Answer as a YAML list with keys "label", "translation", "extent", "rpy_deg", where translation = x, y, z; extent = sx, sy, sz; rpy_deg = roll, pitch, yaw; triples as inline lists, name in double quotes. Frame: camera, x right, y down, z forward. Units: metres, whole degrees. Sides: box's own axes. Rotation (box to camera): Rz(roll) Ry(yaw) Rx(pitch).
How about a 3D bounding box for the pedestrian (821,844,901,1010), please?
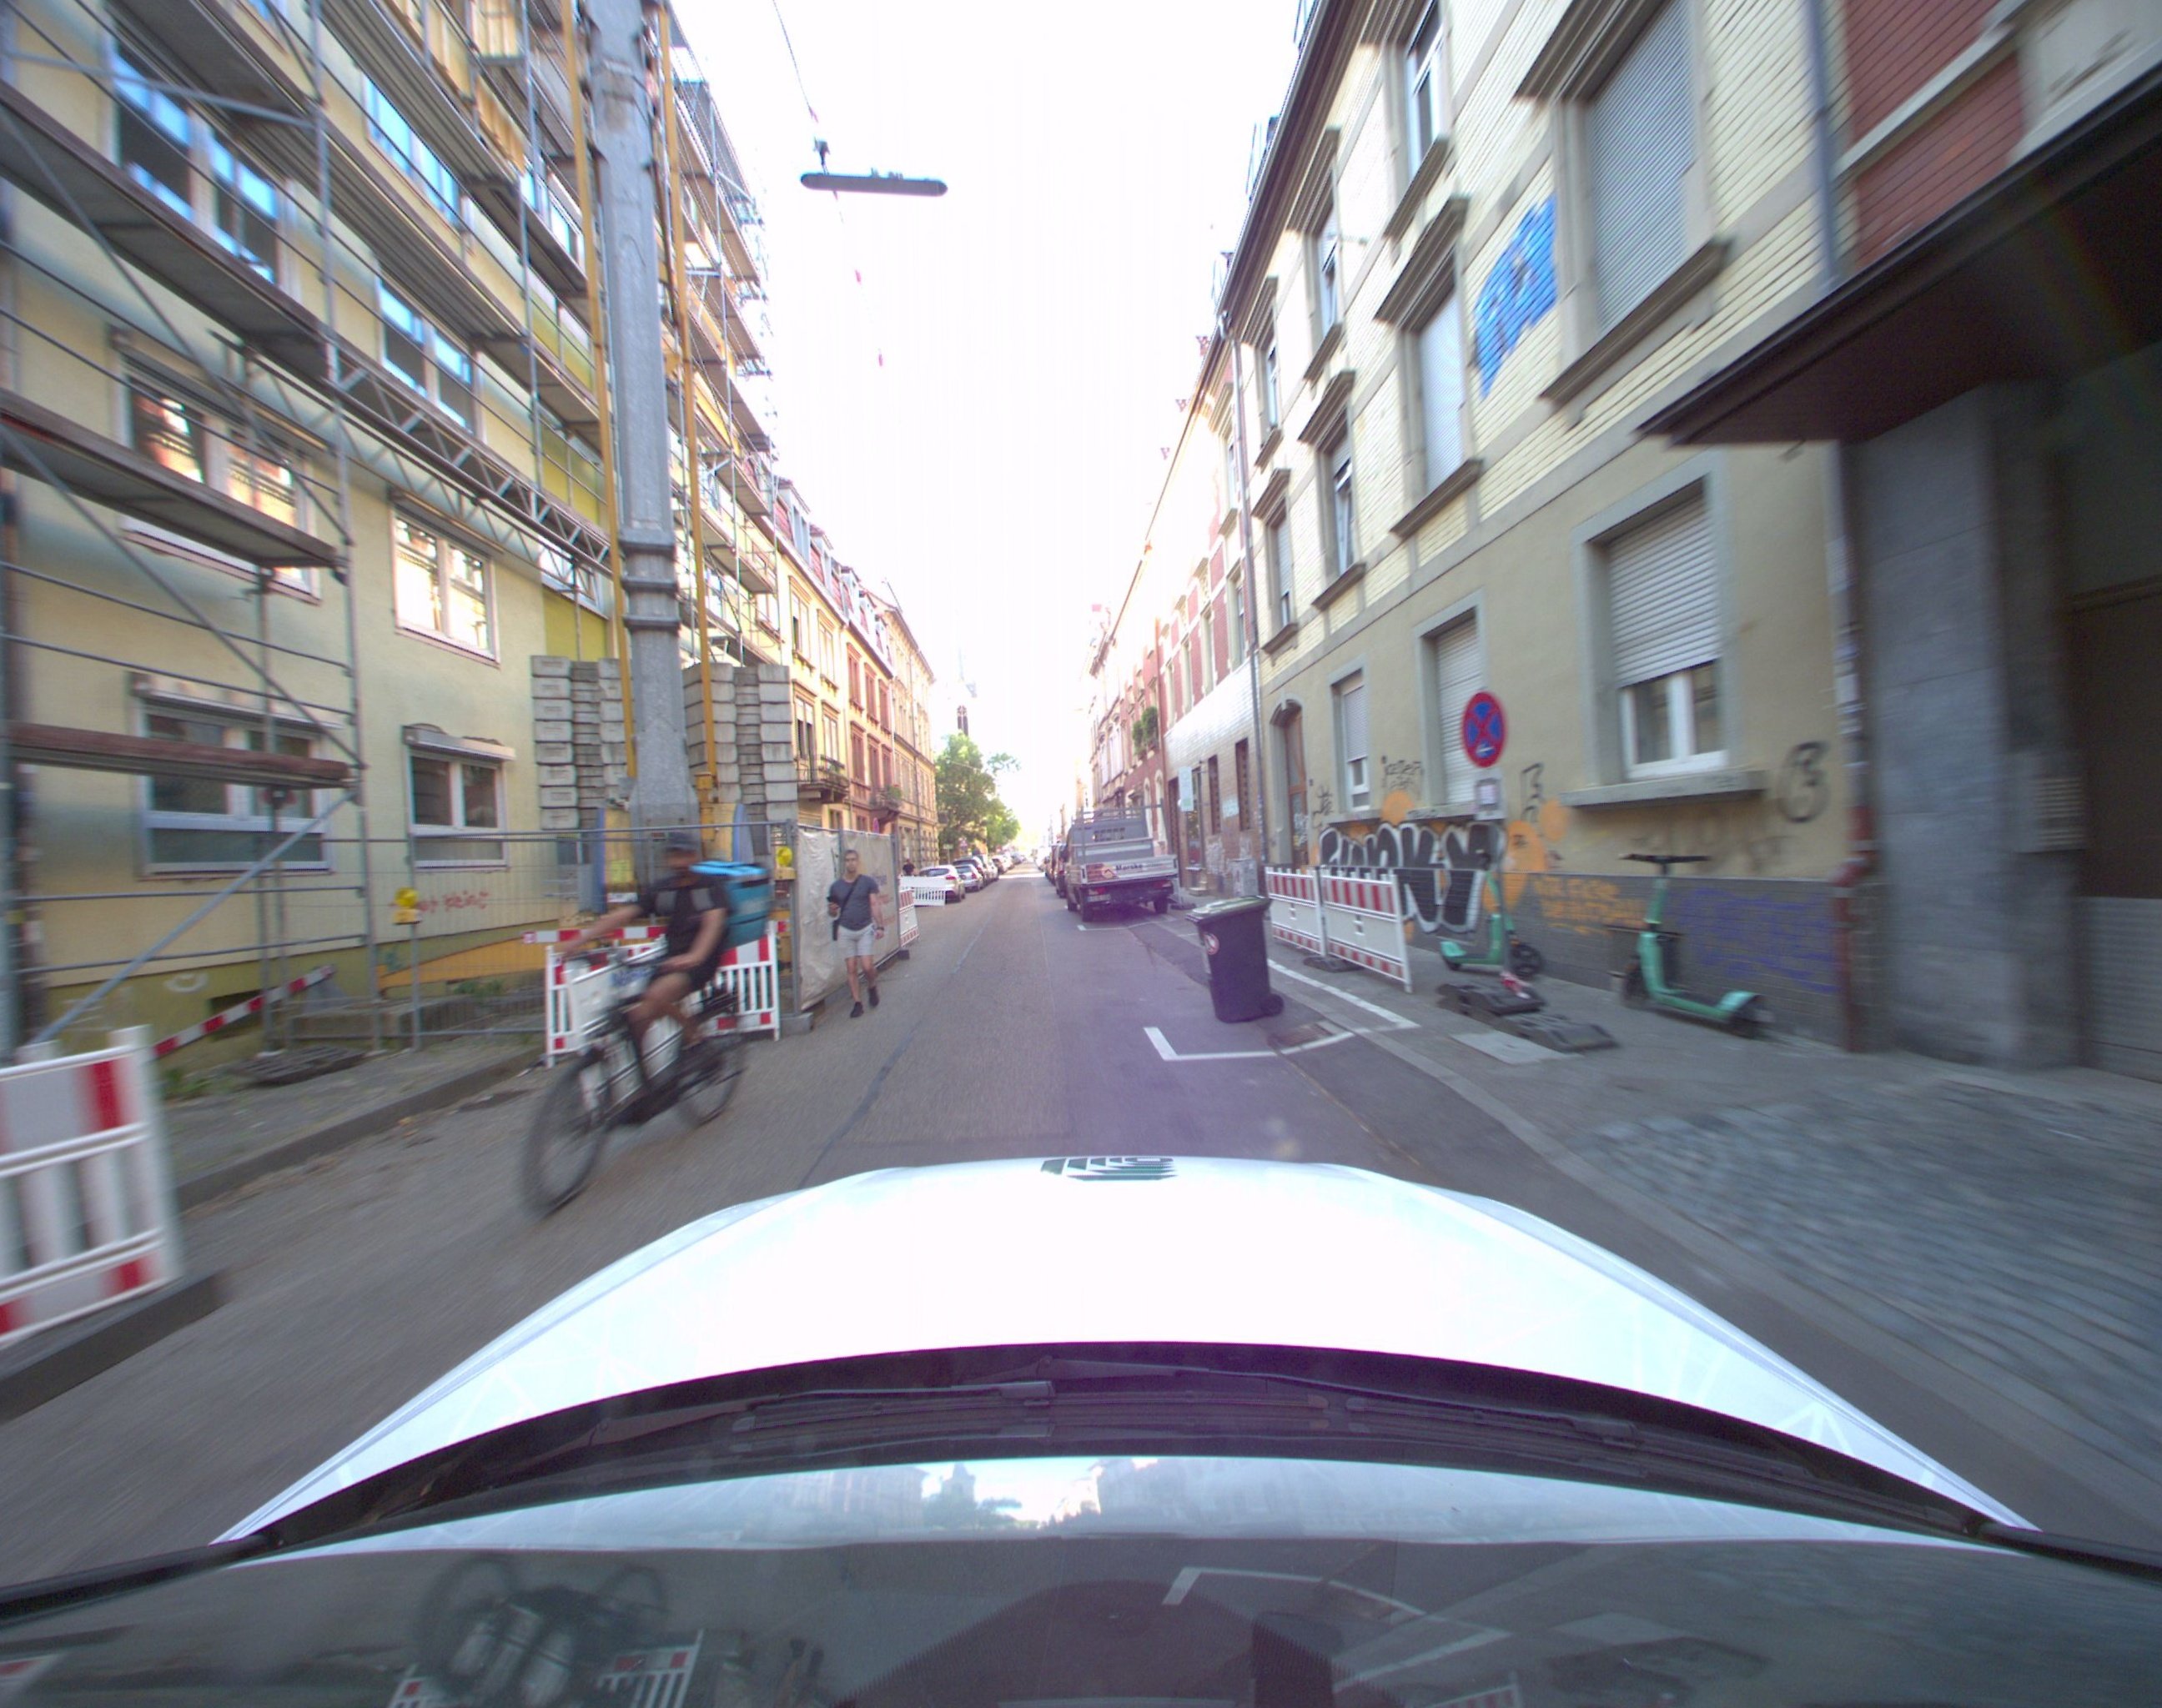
- label: "pedestrian"
  translation: [-2.300, 0.734, 8.595]
  extent: [0.591, 1.643, 0.812]
  rpy_deg: [-3, 0, -4]

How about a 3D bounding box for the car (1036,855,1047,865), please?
- label: "car"
  translation: [-6.085, 0.864, 125.583]
  extent: [1.600, 1.504, 3.996]
  rpy_deg: [-2, 0, -2]

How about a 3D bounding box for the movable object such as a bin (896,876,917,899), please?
- label: "movable object such as a bin"
  translation: [-7.719, 1.464, 36.103]
  extent: [0.761, 0.932, 1.411]
  rpy_deg: [-4, 0, -8]

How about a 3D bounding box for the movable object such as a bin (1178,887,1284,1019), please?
- label: "movable object such as a bin"
  translation: [1.355, 0.877, 7.459]
  extent: [0.739, 1.057, 0.686]
  rpy_deg: [-4, 0, -4]

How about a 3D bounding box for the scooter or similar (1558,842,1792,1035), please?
- label: "scooter or similar"
  translation: [4.064, 0.517, 5.710]
  extent: [0.387, 1.143, 1.442]
  rpy_deg: [-7, 0, -4]

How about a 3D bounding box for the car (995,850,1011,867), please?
- label: "car"
  translation: [-10.065, 0.544, 105.515]
  extent: [1.861, 1.957, 4.603]
  rpy_deg: [-5, 0, -4]

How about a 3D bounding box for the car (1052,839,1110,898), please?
- label: "car"
  translation: [-0.082, 0.501, 30.663]
  extent: [1.841, 1.983, 4.569]
  rpy_deg: [-1, 0, -4]

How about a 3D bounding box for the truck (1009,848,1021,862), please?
- label: "truck"
  translation: [-16.415, 0.266, 203.816]
  extent: [2.527, 3.281, 6.986]
  rpy_deg: [-4, 0, -3]

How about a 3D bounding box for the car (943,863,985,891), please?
- label: "car"
  translation: [-5.753, 1.100, 40.338]
  extent: [1.695, 1.314, 3.995]
  rpy_deg: [0, 0, -3]

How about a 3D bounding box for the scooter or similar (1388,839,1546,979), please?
- label: "scooter or similar"
  translation: [3.758, 0.515, 8.054]
  extent: [0.455, 1.209, 1.436]
  rpy_deg: [-7, 0, -16]

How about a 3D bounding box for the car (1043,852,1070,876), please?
- label: "car"
  translation: [-1.719, 0.677, 56.115]
  extent: [1.663, 1.479, 3.883]
  rpy_deg: [-4, 1, -3]

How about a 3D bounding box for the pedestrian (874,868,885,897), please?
- label: "pedestrian"
  translation: [-9.114, 1.291, 36.792]
  extent: [0.393, 1.306, 0.430]
  rpy_deg: [-3, 0, -9]

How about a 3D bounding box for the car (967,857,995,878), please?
- label: "car"
  translation: [-7.294, 0.965, 59.682]
  extent: [1.719, 1.481, 4.084]
  rpy_deg: [-2, 0, -3]

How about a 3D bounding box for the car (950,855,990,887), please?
- label: "car"
  translation: [-6.183, 0.909, 45.714]
  extent: [1.784, 1.624, 4.603]
  rpy_deg: [-2, 0, -3]

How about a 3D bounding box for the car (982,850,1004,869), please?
- label: "car"
  translation: [-8.986, 0.539, 83.735]
  extent: [1.841, 1.862, 4.461]
  rpy_deg: [-3, 0, -3]

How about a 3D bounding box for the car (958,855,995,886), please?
- label: "car"
  translation: [-6.506, 0.969, 50.963]
  extent: [1.888, 1.784, 4.602]
  rpy_deg: [-2, 0, -3]

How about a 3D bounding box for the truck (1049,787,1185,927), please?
- label: "truck"
  translation: [0.647, 0.061, 20.174]
  extent: [2.146, 2.656, 6.240]
  rpy_deg: [-8, 1, -6]

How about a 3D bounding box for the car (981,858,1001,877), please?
- label: "car"
  translation: [-8.630, 1.248, 78.201]
  extent: [1.738, 1.646, 4.280]
  rpy_deg: [-4, 0, -6]

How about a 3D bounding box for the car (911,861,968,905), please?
- label: "car"
  translation: [-5.411, 1.053, 31.520]
  extent: [1.671, 1.418, 3.994]
  rpy_deg: [-5, 0, -4]

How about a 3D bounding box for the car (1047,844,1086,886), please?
- label: "car"
  translation: [-0.816, 0.558, 43.068]
  extent: [1.828, 2.013, 4.736]
  rpy_deg: [-2, 0, -3]

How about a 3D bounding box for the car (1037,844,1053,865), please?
- label: "car"
  translation: [-4.890, 0.023, 109.801]
  extent: [2.064, 2.610, 5.880]
  rpy_deg: [-3, 0, -3]

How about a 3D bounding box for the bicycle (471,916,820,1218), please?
- label: "bicycle"
  translation: [-2.272, 1.040, 4.598]
  extent: [0.683, 1.157, 1.851]
  rpy_deg: [-5, 0, 8]

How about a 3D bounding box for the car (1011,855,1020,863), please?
- label: "car"
  translation: [-15.122, 1.195, 187.411]
  extent: [1.873, 1.796, 3.991]
  rpy_deg: [-4, 0, -6]

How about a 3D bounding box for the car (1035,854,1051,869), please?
- label: "car"
  translation: [-4.460, 0.875, 95.097]
  extent: [1.804, 1.690, 4.209]
  rpy_deg: [-2, -1, -3]

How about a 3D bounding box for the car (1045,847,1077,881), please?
- label: "car"
  translation: [-1.296, 0.608, 50.179]
  extent: [1.766, 1.961, 4.259]
  rpy_deg: [-2, 0, -3]

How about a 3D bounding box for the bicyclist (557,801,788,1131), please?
- label: "bicyclist"
  translation: [-2.301, 0.586, 4.696]
  extent: [0.661, 1.677, 0.895]
  rpy_deg: [-5, 0, 8]

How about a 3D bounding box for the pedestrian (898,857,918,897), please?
- label: "pedestrian"
  translation: [-7.894, 1.033, 37.250]
  extent: [0.684, 1.765, 0.885]
  rpy_deg: [-4, 0, -7]

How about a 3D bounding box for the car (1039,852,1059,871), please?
- label: "car"
  translation: [-3.189, 0.743, 80.541]
  extent: [1.701, 1.714, 3.930]
  rpy_deg: [-4, 0, -5]

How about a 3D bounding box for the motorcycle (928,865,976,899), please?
- label: "motorcycle"
  translation: [-5.776, 1.266, 36.473]
  extent: [2.169, 1.360, 0.850]
  rpy_deg: [-6, 0, 44]

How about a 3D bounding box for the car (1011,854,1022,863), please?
- label: "car"
  translation: [-13.104, 0.952, 165.515]
  extent: [1.871, 1.796, 3.995]
  rpy_deg: [-4, 0, -3]

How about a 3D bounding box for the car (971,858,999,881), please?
- label: "car"
  translation: [-6.504, 1.037, 55.466]
  extent: [1.671, 1.420, 3.867]
  rpy_deg: [-2, 0, -5]
